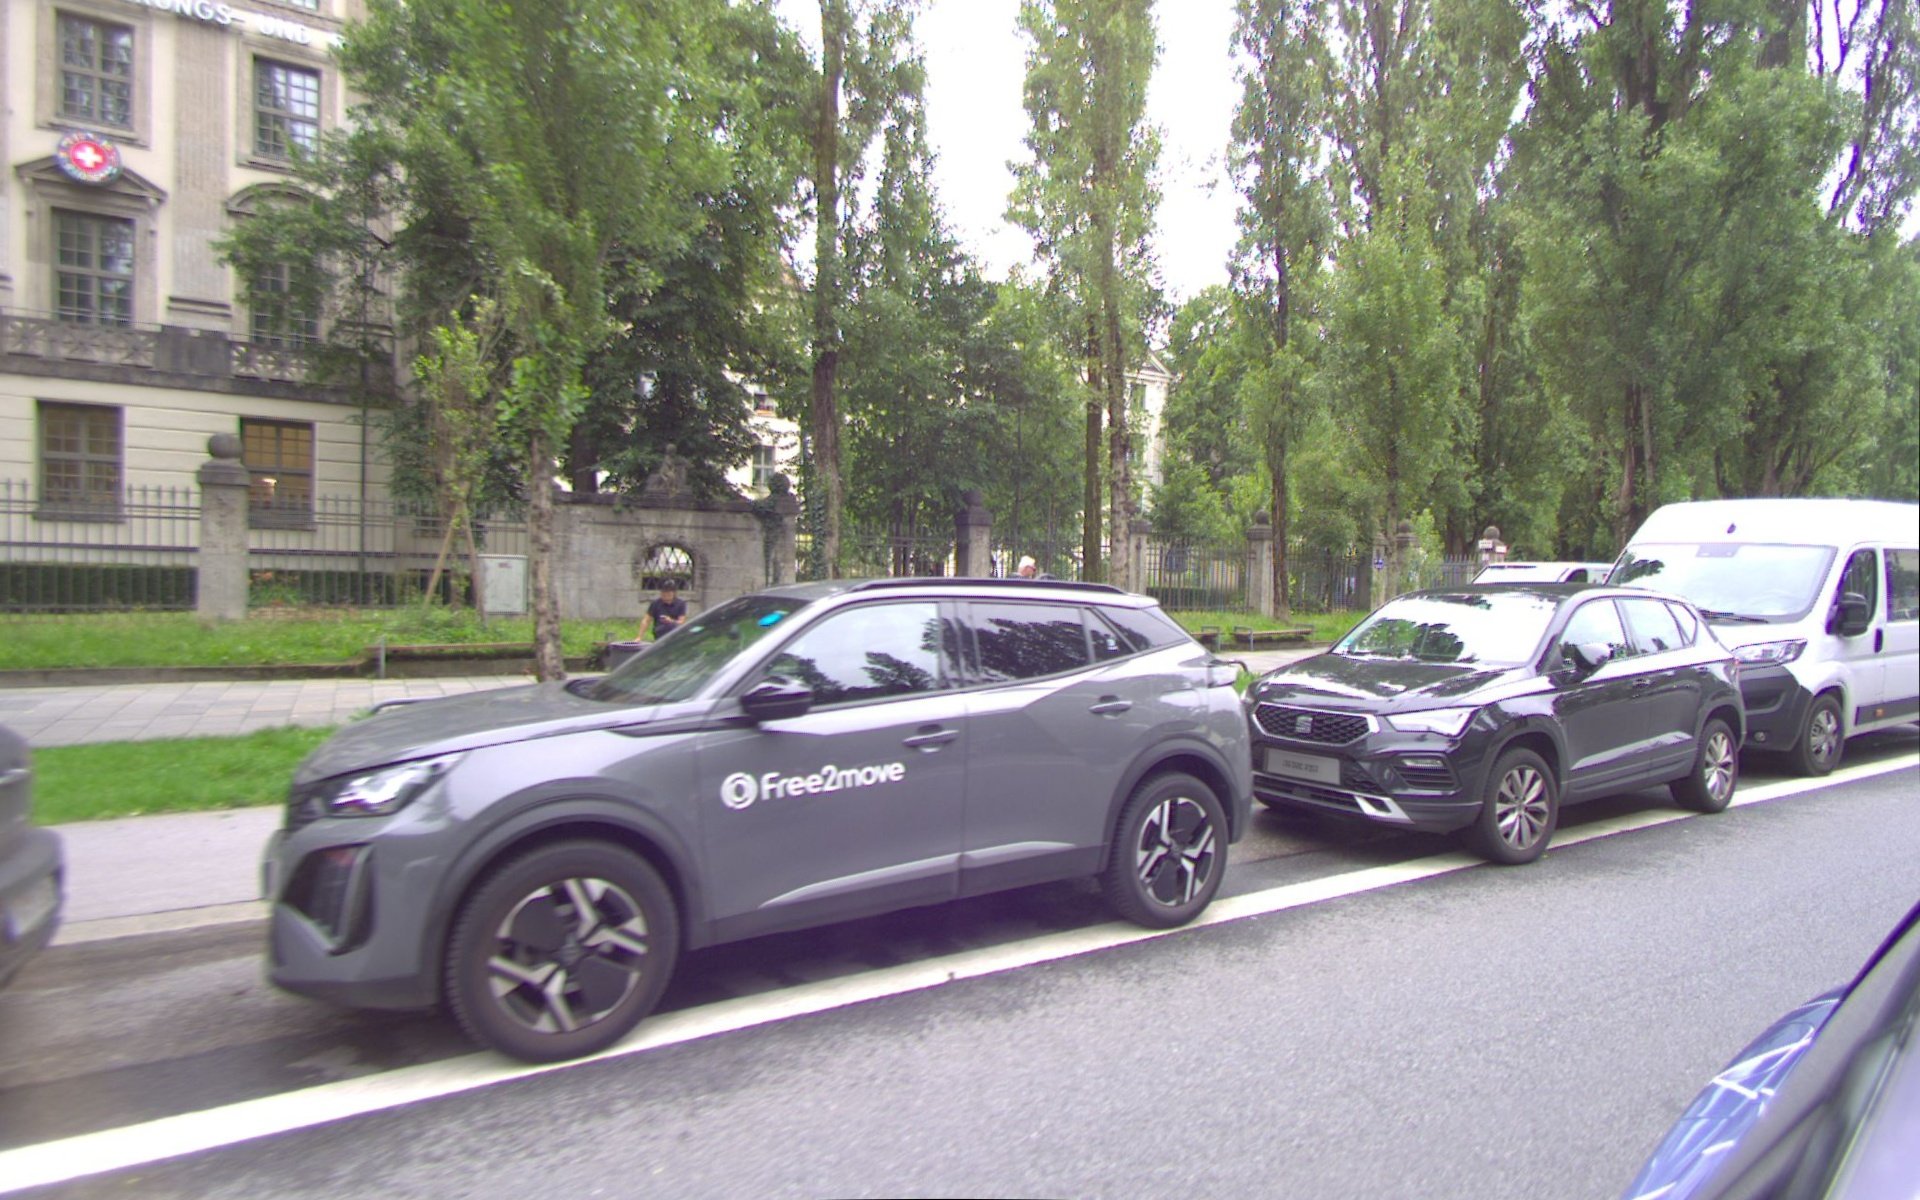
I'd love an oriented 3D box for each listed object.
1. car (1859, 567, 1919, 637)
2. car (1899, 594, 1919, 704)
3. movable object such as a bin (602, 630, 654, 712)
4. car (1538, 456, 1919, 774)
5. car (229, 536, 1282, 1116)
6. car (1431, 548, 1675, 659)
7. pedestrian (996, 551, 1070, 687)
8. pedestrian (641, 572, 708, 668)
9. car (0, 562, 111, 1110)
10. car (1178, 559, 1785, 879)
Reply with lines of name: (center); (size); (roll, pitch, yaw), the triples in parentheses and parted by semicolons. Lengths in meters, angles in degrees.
car: (28.572, 0.071, 29.813); (4.789, 1.969, 1.887); (0, 0, -33)
car: (14.795, 0.655, 13.920); (3.921, 1.468, 1.761); (0, -1, -32)
movable object such as a bin: (-3.383, 0.714, 10.298); (0.468, 0.780, 0.490); (1, 1, -21)
car: (8.745, 0.117, 10.473); (6.159, 2.510, 2.083); (0, 0, -31)
car: (-0.626, 0.587, 4.429); (4.032, 1.522, 1.658); (0, 0, -32)
car: (11.893, 0.033, 20.226); (4.981, 1.970, 2.002); (0, 1, -30)
pedestrian: (0.935, 0.226, 13.005); (0.620, 1.680, 0.718); (1, 0, -32)
pedestrian: (-3.992, 0.264, 14.100); (0.658, 1.259, 0.883); (1, 3, -31)
car: (-4.592, 0.635, 2.137); (4.066, 1.464, 1.639); (0, -1, -32)
car: (3.673, 0.584, 6.953); (4.139, 1.610, 1.828); (0, 1, -32)
